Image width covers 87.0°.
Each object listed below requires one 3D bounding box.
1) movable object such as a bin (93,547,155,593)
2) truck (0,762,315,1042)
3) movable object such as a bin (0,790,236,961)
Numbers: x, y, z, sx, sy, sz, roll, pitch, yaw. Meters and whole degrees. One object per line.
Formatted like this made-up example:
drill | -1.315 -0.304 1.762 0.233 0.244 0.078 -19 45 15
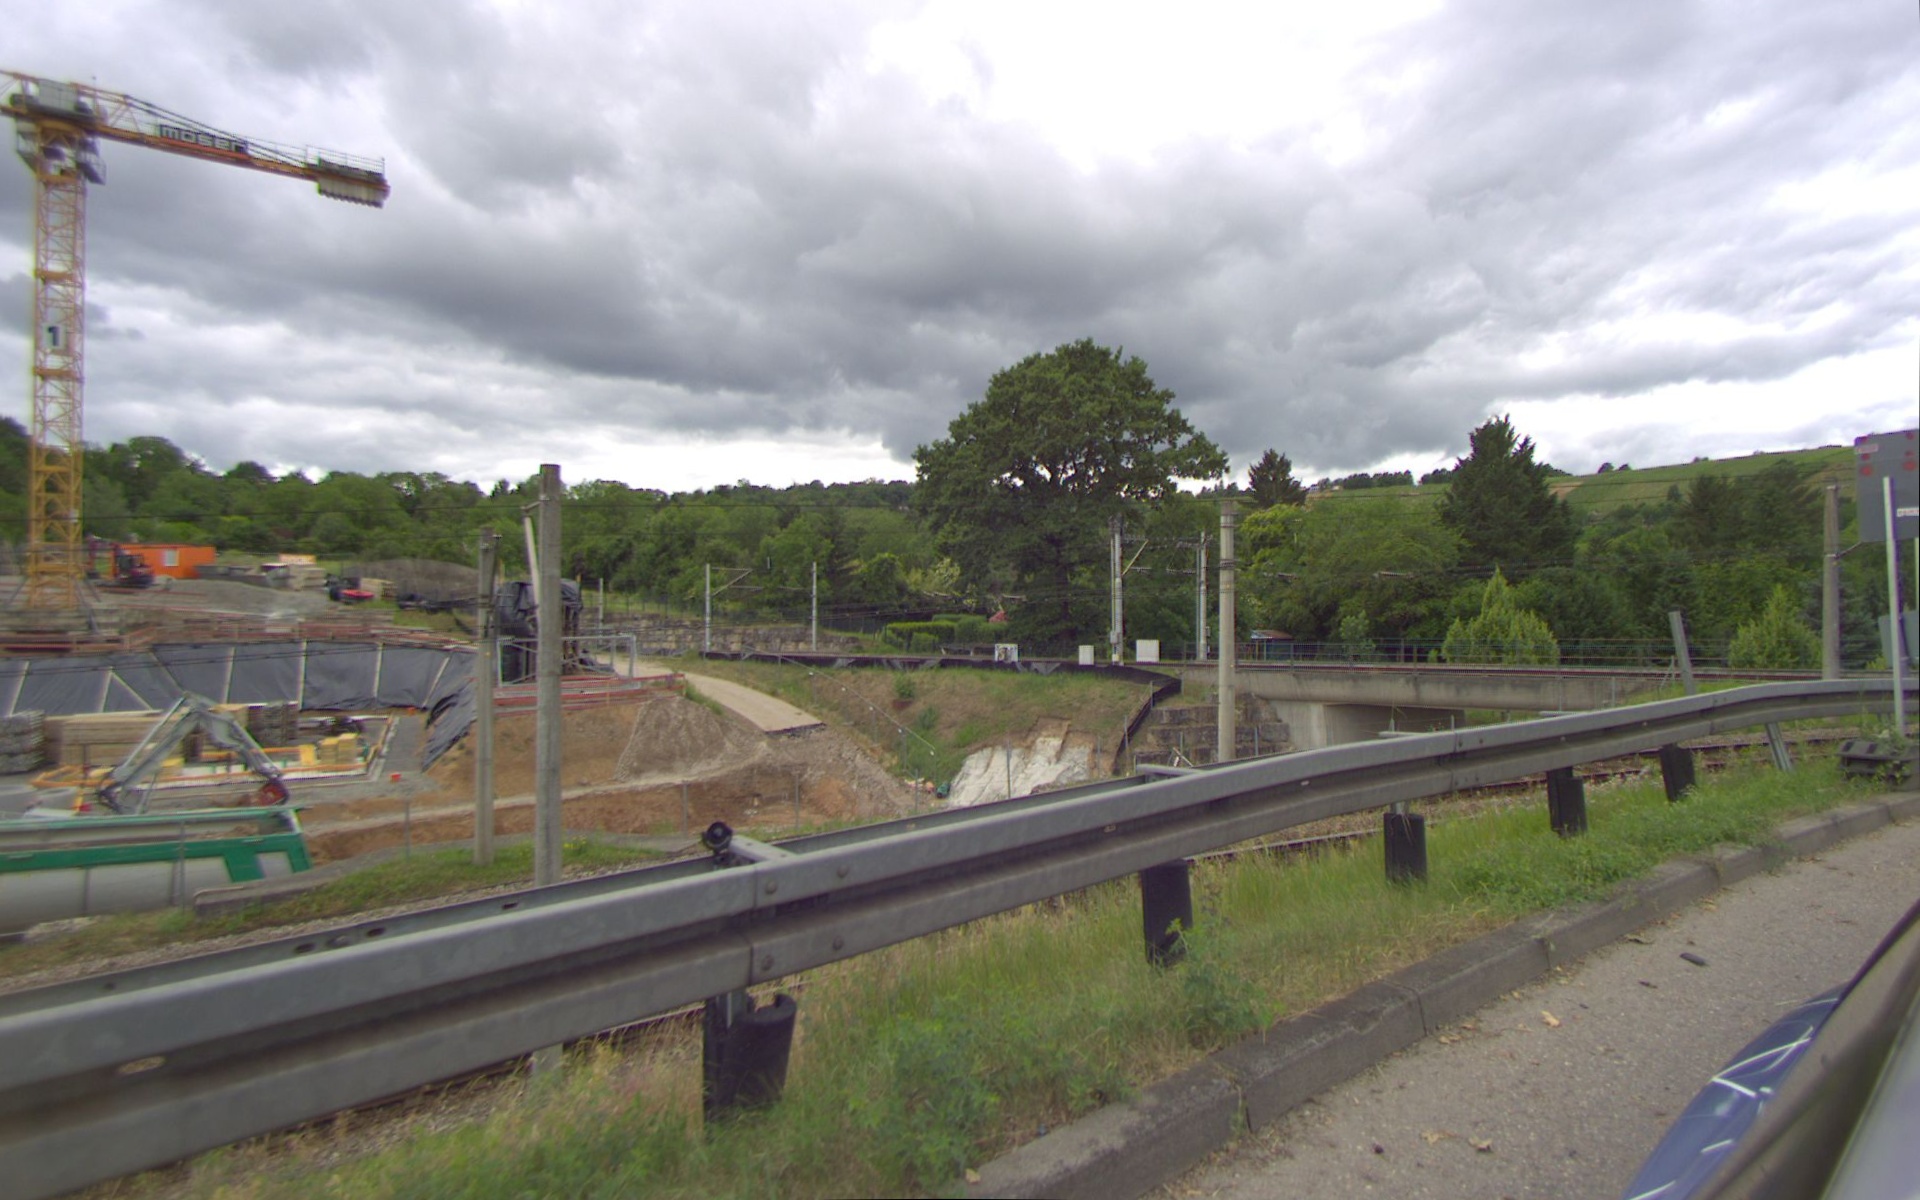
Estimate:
movable object such as a bin | -57.748 -2.070 69.951 2.742 3.116 1.845 -1 0 -17
truck | -17.760 5.276 16.987 11.405 3.943 2.844 2 -2 -38
movable object such as a bin | -18.805 5.869 22.027 4.197 2.784 3.053 2 -1 -20
